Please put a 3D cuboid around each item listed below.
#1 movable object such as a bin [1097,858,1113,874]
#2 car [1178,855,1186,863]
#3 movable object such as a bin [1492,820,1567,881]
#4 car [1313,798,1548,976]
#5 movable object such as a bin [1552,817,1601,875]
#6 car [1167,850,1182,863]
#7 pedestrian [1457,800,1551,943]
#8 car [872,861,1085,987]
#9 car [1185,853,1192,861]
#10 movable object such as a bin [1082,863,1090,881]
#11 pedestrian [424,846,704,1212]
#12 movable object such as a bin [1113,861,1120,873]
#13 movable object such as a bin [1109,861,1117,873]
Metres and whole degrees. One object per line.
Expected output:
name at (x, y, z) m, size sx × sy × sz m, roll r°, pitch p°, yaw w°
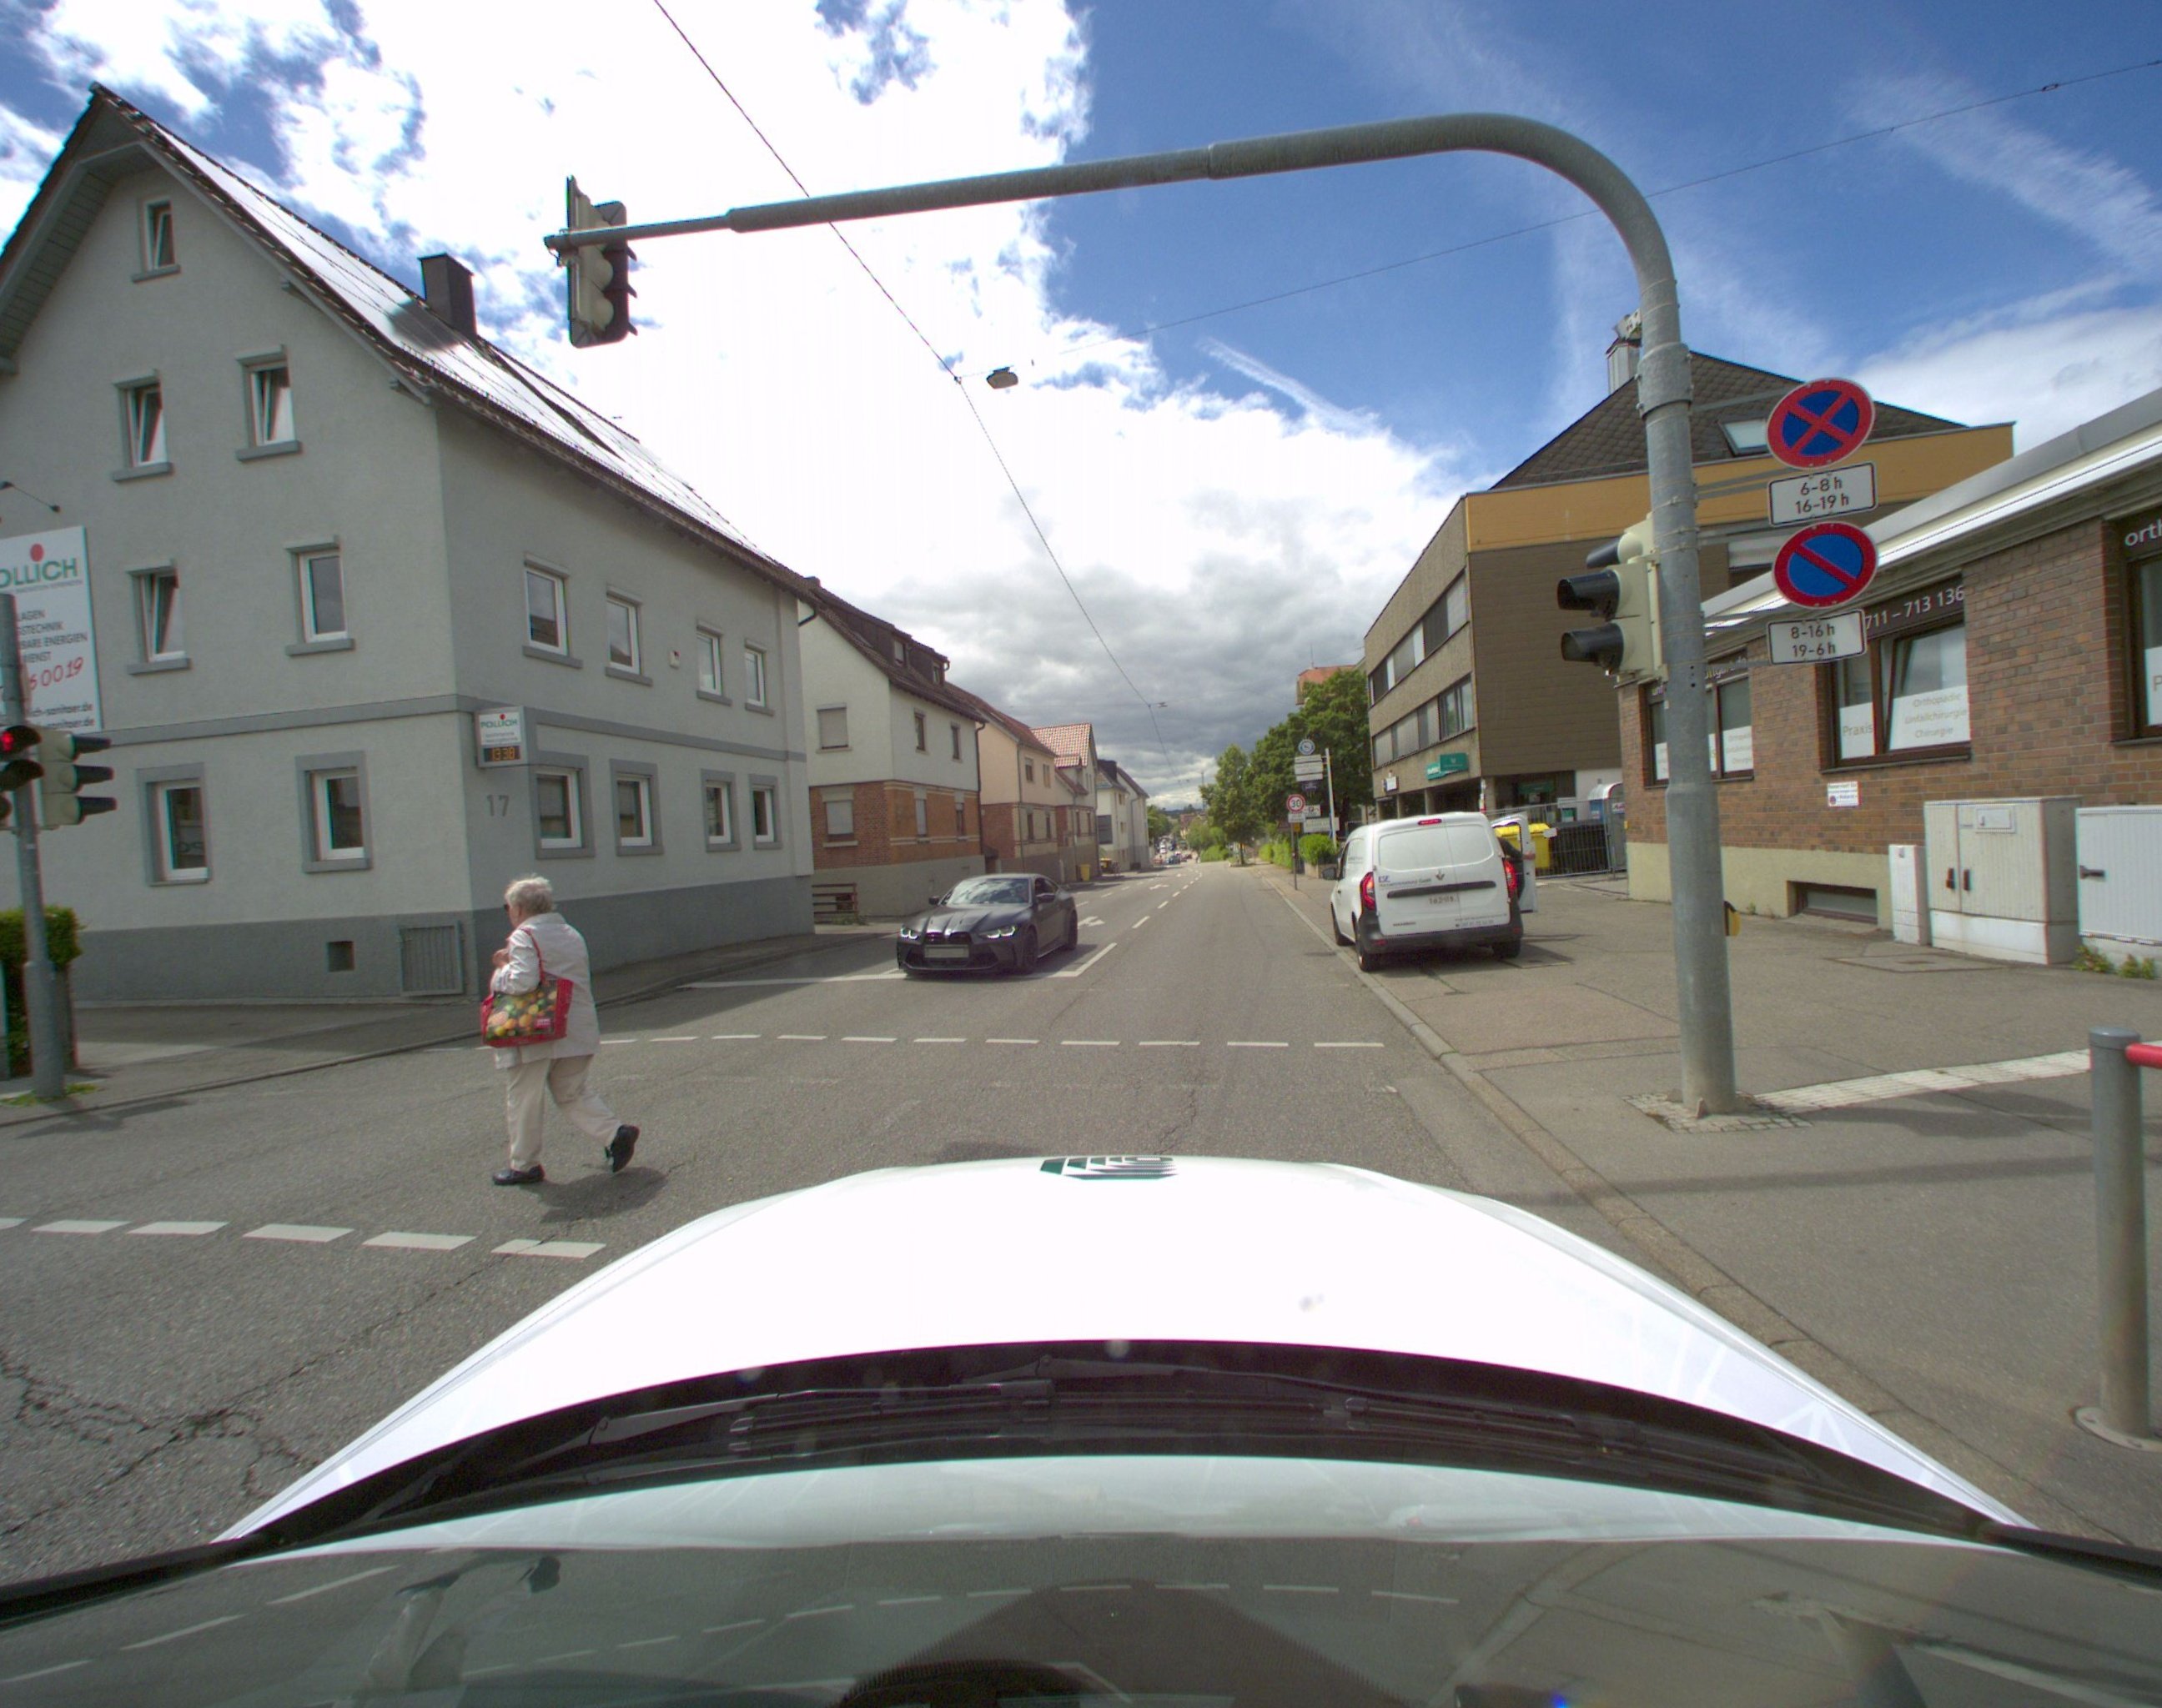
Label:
movable object such as a bin at (2.125, 1.047, 70.755) m, size 1.275 × 1.310 × 0.817 m, roll -4°, pitch -1°, yaw 4°
car at (27.718, 1.406, 222.980) m, size 1.983 × 2.014 × 4.007 m, roll -4°, pitch -1°, yaw 6°
movable object such as a bin at (12.030, -0.106, 21.904) m, size 1.472 × 1.492 × 1.080 m, roll -4°, pitch 2°, yaw 13°
car at (4.527, 0.376, 11.346) m, size 1.899 × 1.794 × 4.504 m, roll -7°, pitch -1°, yaw 11°
movable object such as a bin at (13.189, -0.227, 21.709) m, size 0.774 × 1.440 × 1.022 m, roll -4°, pitch 2°, yaw 13°
car at (15.643, 0.441, 136.397) m, size 1.986 × 2.013 × 4.001 m, roll -3°, pitch 0°, yaw 1°
pedestrian at (5.665, 0.233, 10.956) m, size 0.838 × 1.803 × 0.653 m, roll -5°, pitch -1°, yaw 10°
car at (-1.368, 0.957, 13.040) m, size 1.981 × 1.457 × 4.630 m, roll -4°, pitch 0°, yaw 10°
car at (31.383, 0.859, 238.185) m, size 1.983 × 2.014 × 4.007 m, roll -4°, pitch -1°, yaw 6°
movable object such as a bin at (0.355, 1.214, 54.773) m, size 0.428 × 1.128 × 0.300 m, roll -4°, pitch -1°, yaw 9°
pedestrian at (-2.634, 0.805, 4.202) m, size 0.863 × 1.638 × 0.841 m, roll -3°, pitch -2°, yaw 22°
movable object such as a bin at (3.165, 1.142, 72.370) m, size 0.528 × 1.030 × 0.456 m, roll -4°, pitch -1°, yaw 8°
movable object such as a bin at (2.828, 1.137, 71.713) m, size 0.528 × 1.030 × 0.456 m, roll -4°, pitch -1°, yaw 8°
